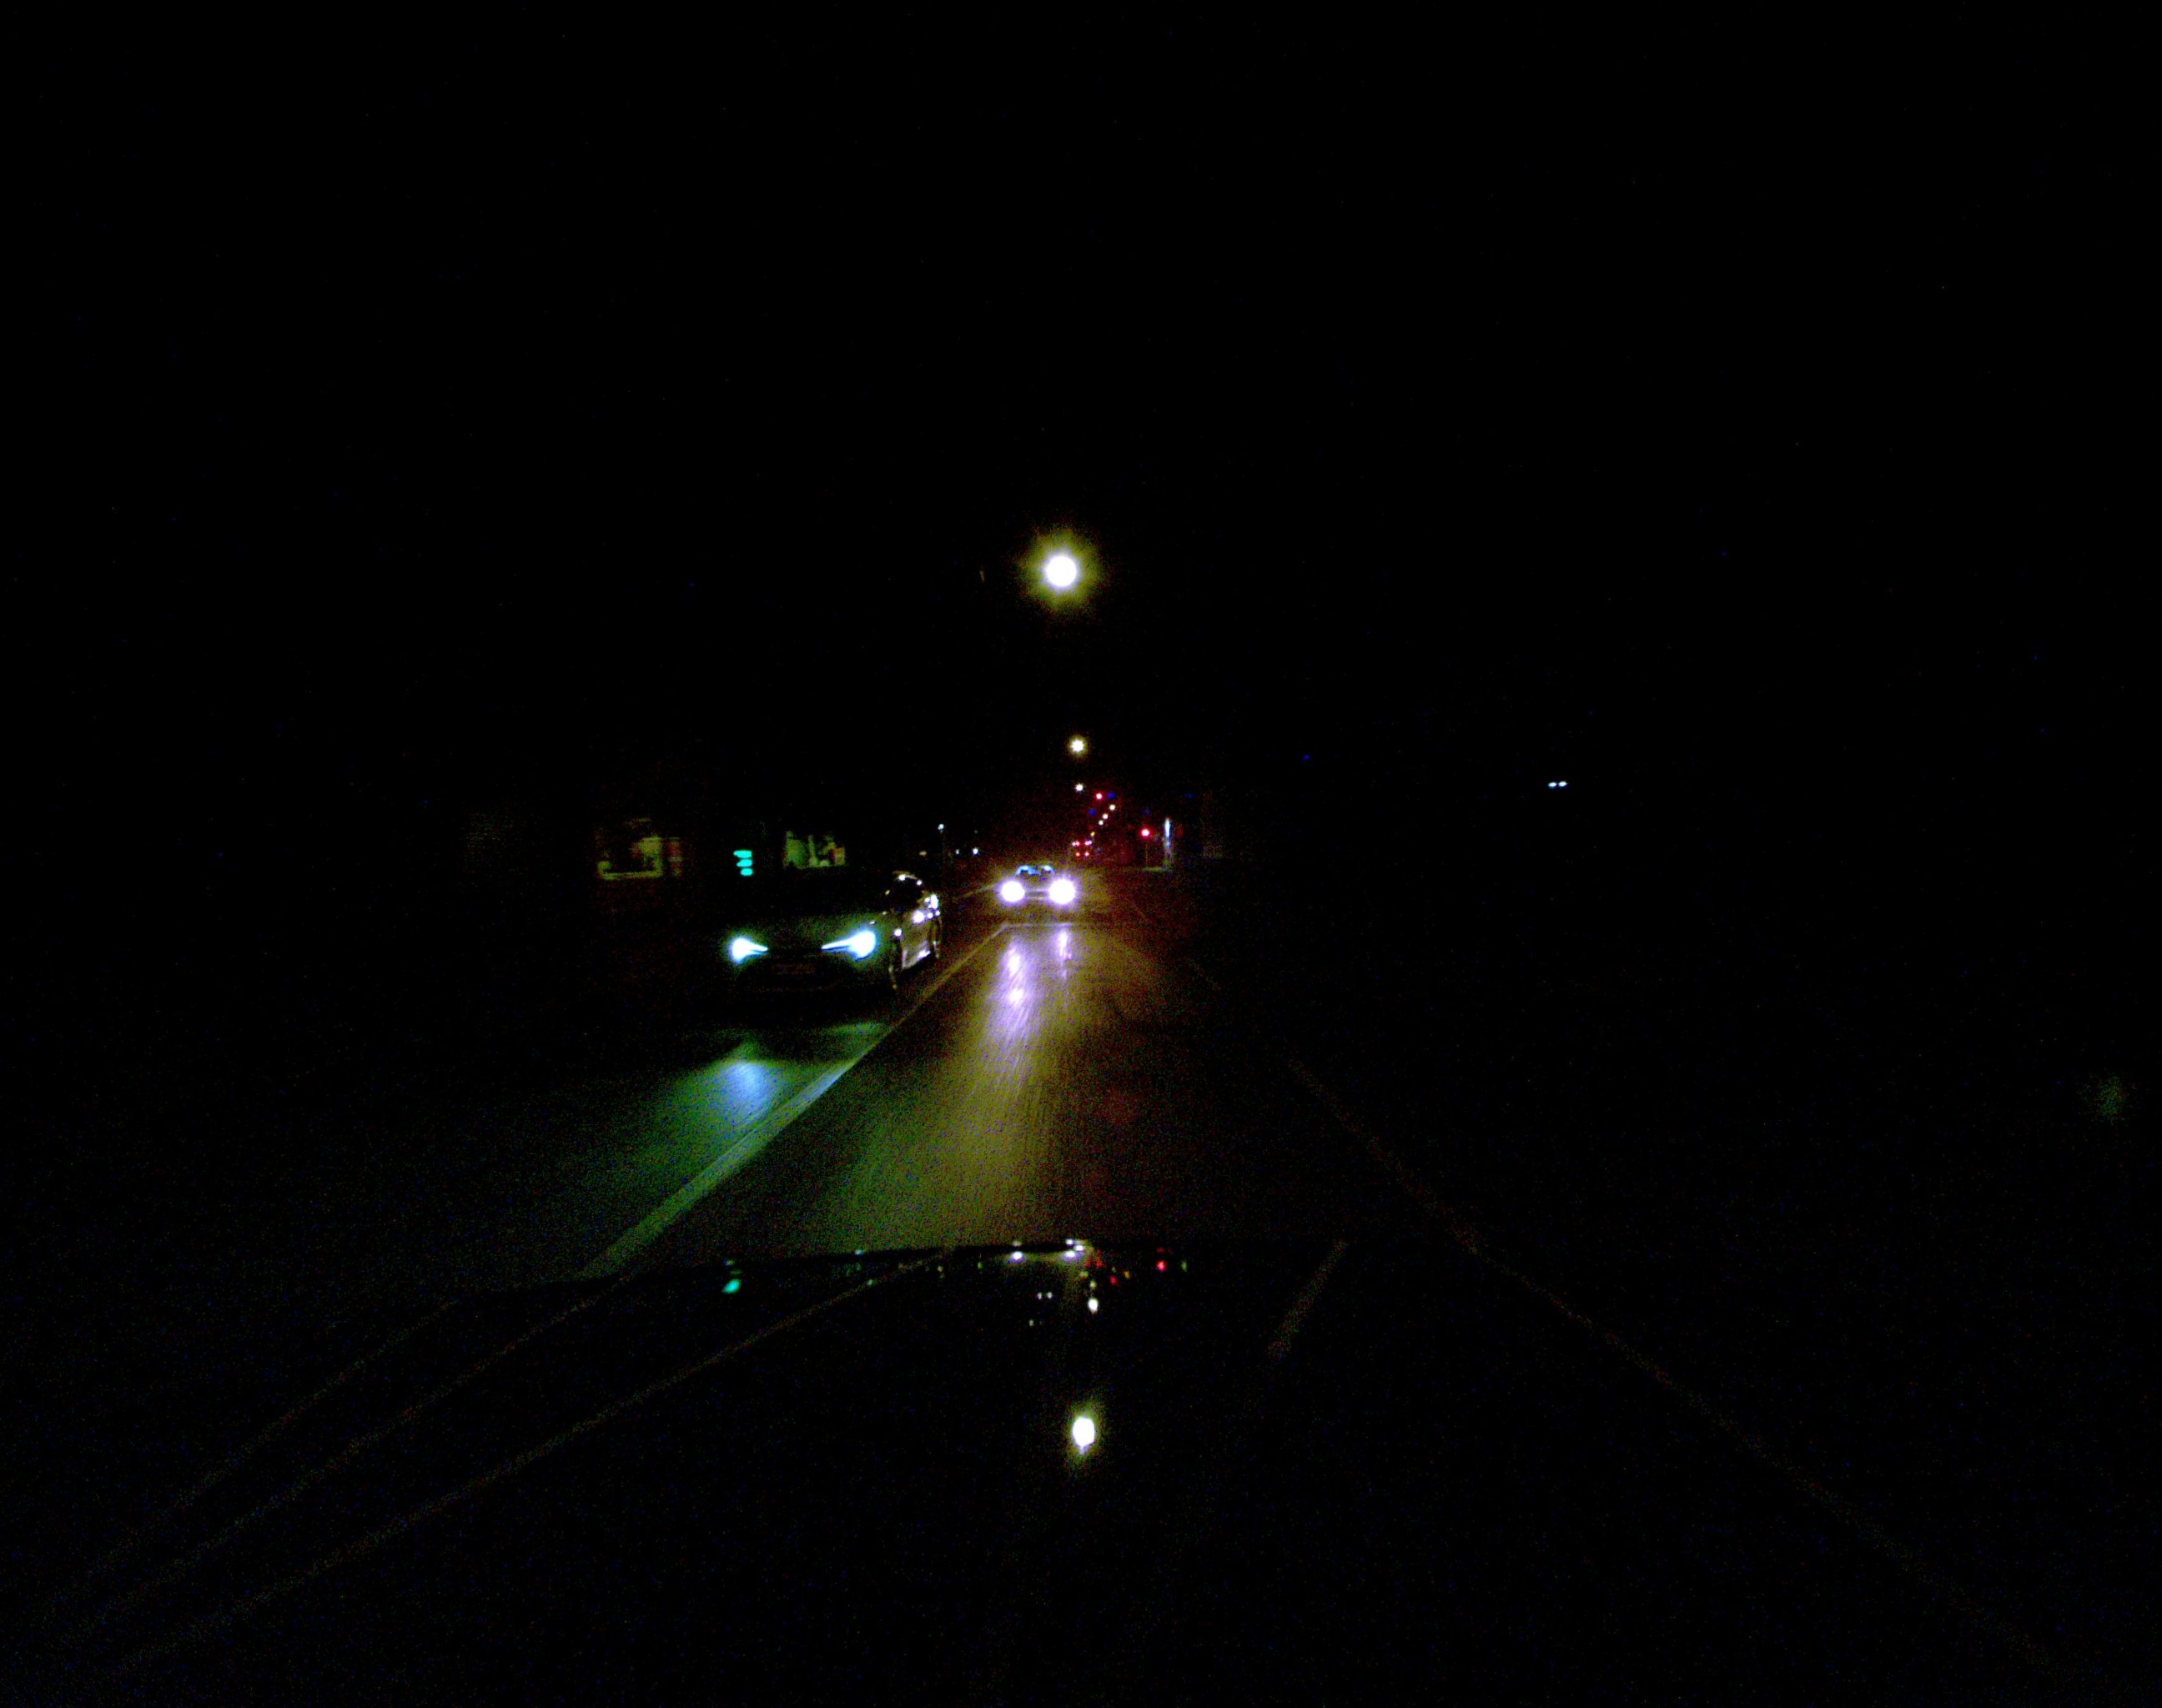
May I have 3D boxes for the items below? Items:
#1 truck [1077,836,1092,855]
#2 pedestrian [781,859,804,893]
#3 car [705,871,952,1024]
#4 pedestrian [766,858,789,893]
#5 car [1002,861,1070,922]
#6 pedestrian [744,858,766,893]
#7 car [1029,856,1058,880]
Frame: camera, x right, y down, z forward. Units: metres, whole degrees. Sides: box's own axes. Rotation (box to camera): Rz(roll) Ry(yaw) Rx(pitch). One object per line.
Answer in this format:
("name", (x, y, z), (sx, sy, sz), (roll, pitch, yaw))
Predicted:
("truck", (0.865, -2.105, 192.103), (3.517, 4.557, 9.039), (-3, 0, 0))
("pedestrian", (-14.922, 1.110, 39.347), (0.737, 1.707, 0.985), (-1, 1, 1))
("car", (-3.056, 1.042, 10.295), (1.729, 1.421, 4.498), (-3, 0, 1))
("pedestrian", (-15.756, 1.085, 39.460), (0.721, 1.778, 0.970), (-1, 1, 1))
("car", (-1.136, 0.953, 20.746), (1.634, 1.430, 3.839), (-1, 0, 0))
("pedestrian", (-16.868, 1.109, 39.319), (0.676, 1.806, 0.906), (-1, 1, 1))
("car", (-2.534, 0.919, 52.173), (1.729, 1.454, 3.999), (-4, 0, 0))
